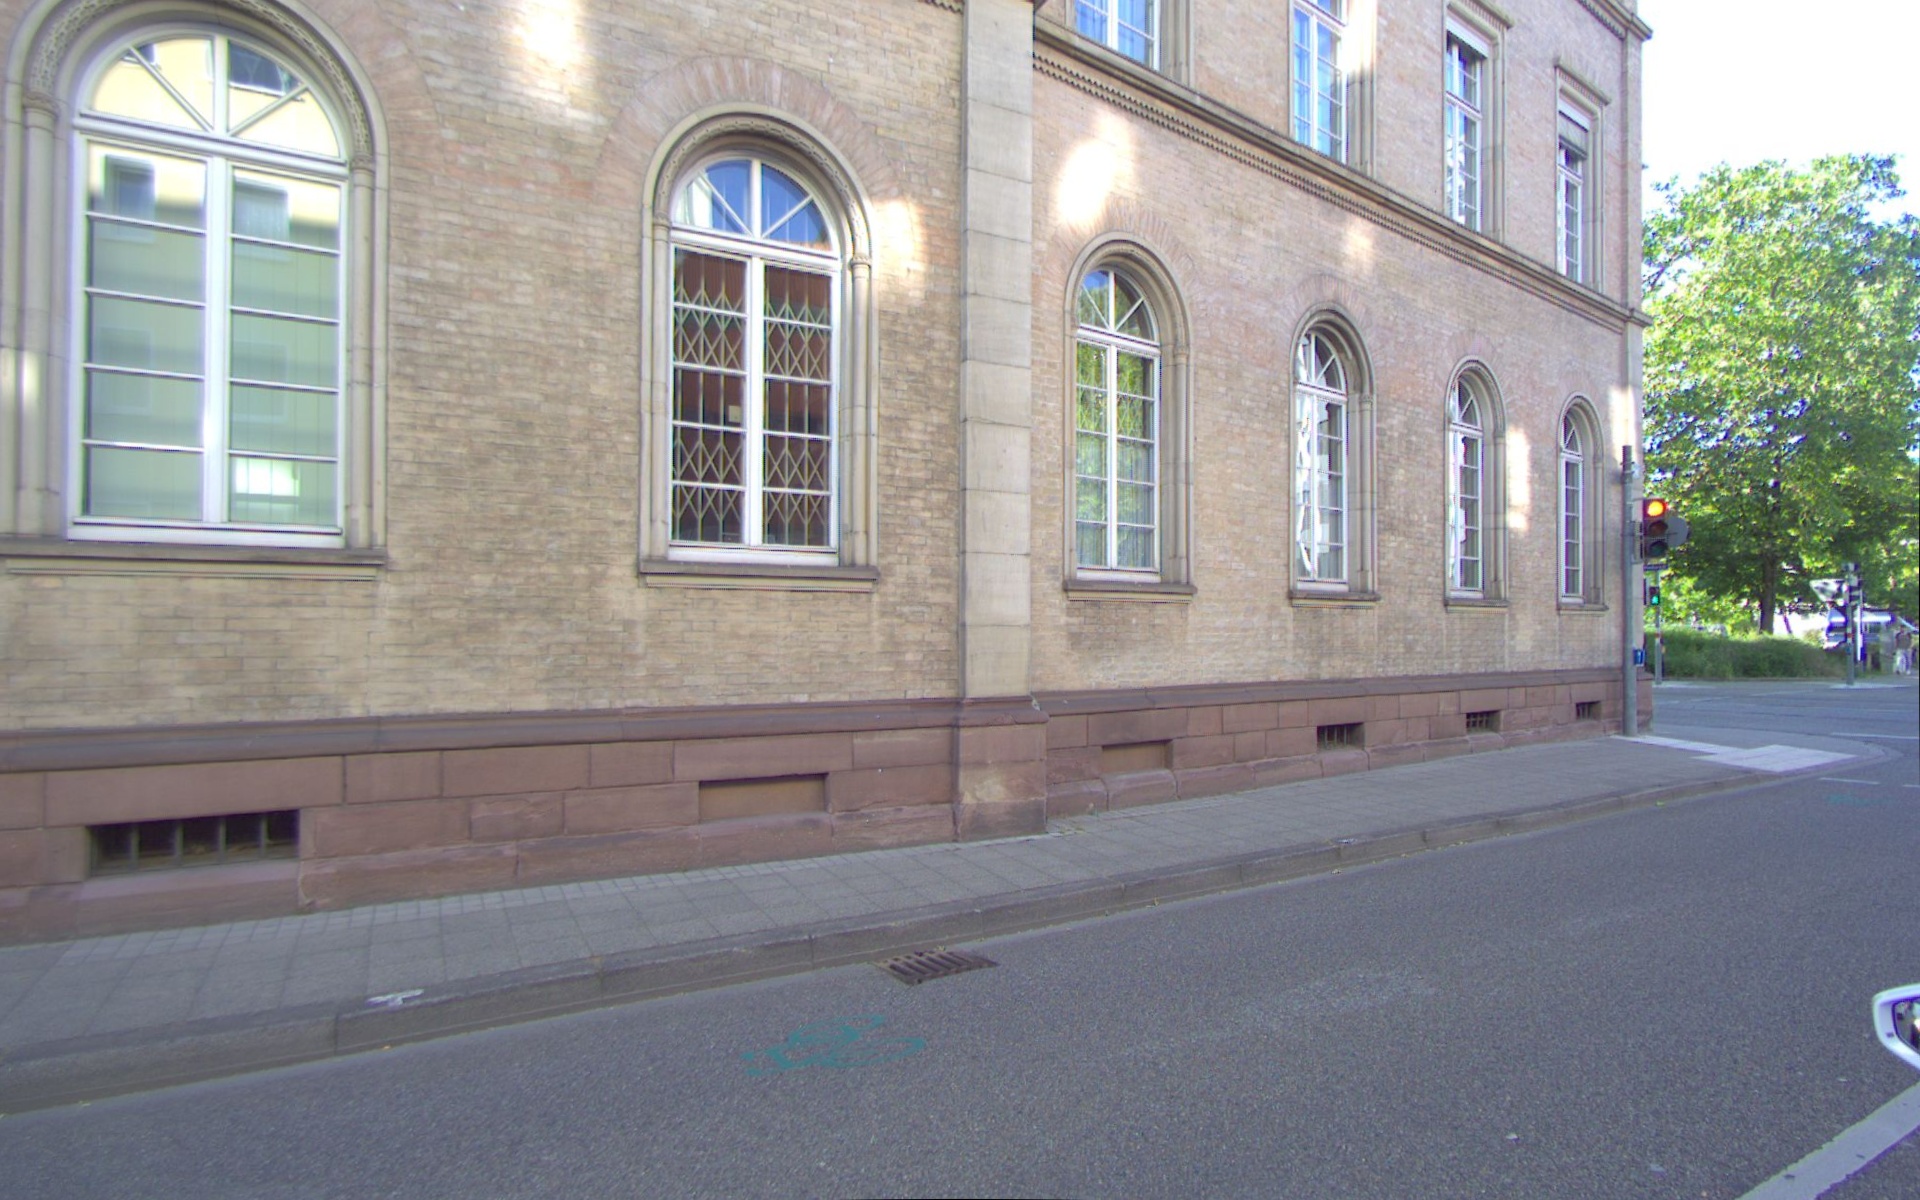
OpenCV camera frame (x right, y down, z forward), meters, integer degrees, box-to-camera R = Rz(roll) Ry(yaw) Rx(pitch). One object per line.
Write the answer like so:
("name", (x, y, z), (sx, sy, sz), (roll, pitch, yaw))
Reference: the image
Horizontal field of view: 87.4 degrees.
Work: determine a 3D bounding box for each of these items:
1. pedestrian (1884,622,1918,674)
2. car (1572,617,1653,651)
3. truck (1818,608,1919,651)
("pedestrian", (32.265, 1.632, 34.428), (0.947, 1.745, 0.697), (2, -3, -39))
("car", (47.830, 2.495, 73.712), (2.056, 2.423, 4.521), (2, -3, -38))
("truck", (53.755, 1.682, 59.059), (2.069, 2.431, 4.790), (1, -1, -39))
